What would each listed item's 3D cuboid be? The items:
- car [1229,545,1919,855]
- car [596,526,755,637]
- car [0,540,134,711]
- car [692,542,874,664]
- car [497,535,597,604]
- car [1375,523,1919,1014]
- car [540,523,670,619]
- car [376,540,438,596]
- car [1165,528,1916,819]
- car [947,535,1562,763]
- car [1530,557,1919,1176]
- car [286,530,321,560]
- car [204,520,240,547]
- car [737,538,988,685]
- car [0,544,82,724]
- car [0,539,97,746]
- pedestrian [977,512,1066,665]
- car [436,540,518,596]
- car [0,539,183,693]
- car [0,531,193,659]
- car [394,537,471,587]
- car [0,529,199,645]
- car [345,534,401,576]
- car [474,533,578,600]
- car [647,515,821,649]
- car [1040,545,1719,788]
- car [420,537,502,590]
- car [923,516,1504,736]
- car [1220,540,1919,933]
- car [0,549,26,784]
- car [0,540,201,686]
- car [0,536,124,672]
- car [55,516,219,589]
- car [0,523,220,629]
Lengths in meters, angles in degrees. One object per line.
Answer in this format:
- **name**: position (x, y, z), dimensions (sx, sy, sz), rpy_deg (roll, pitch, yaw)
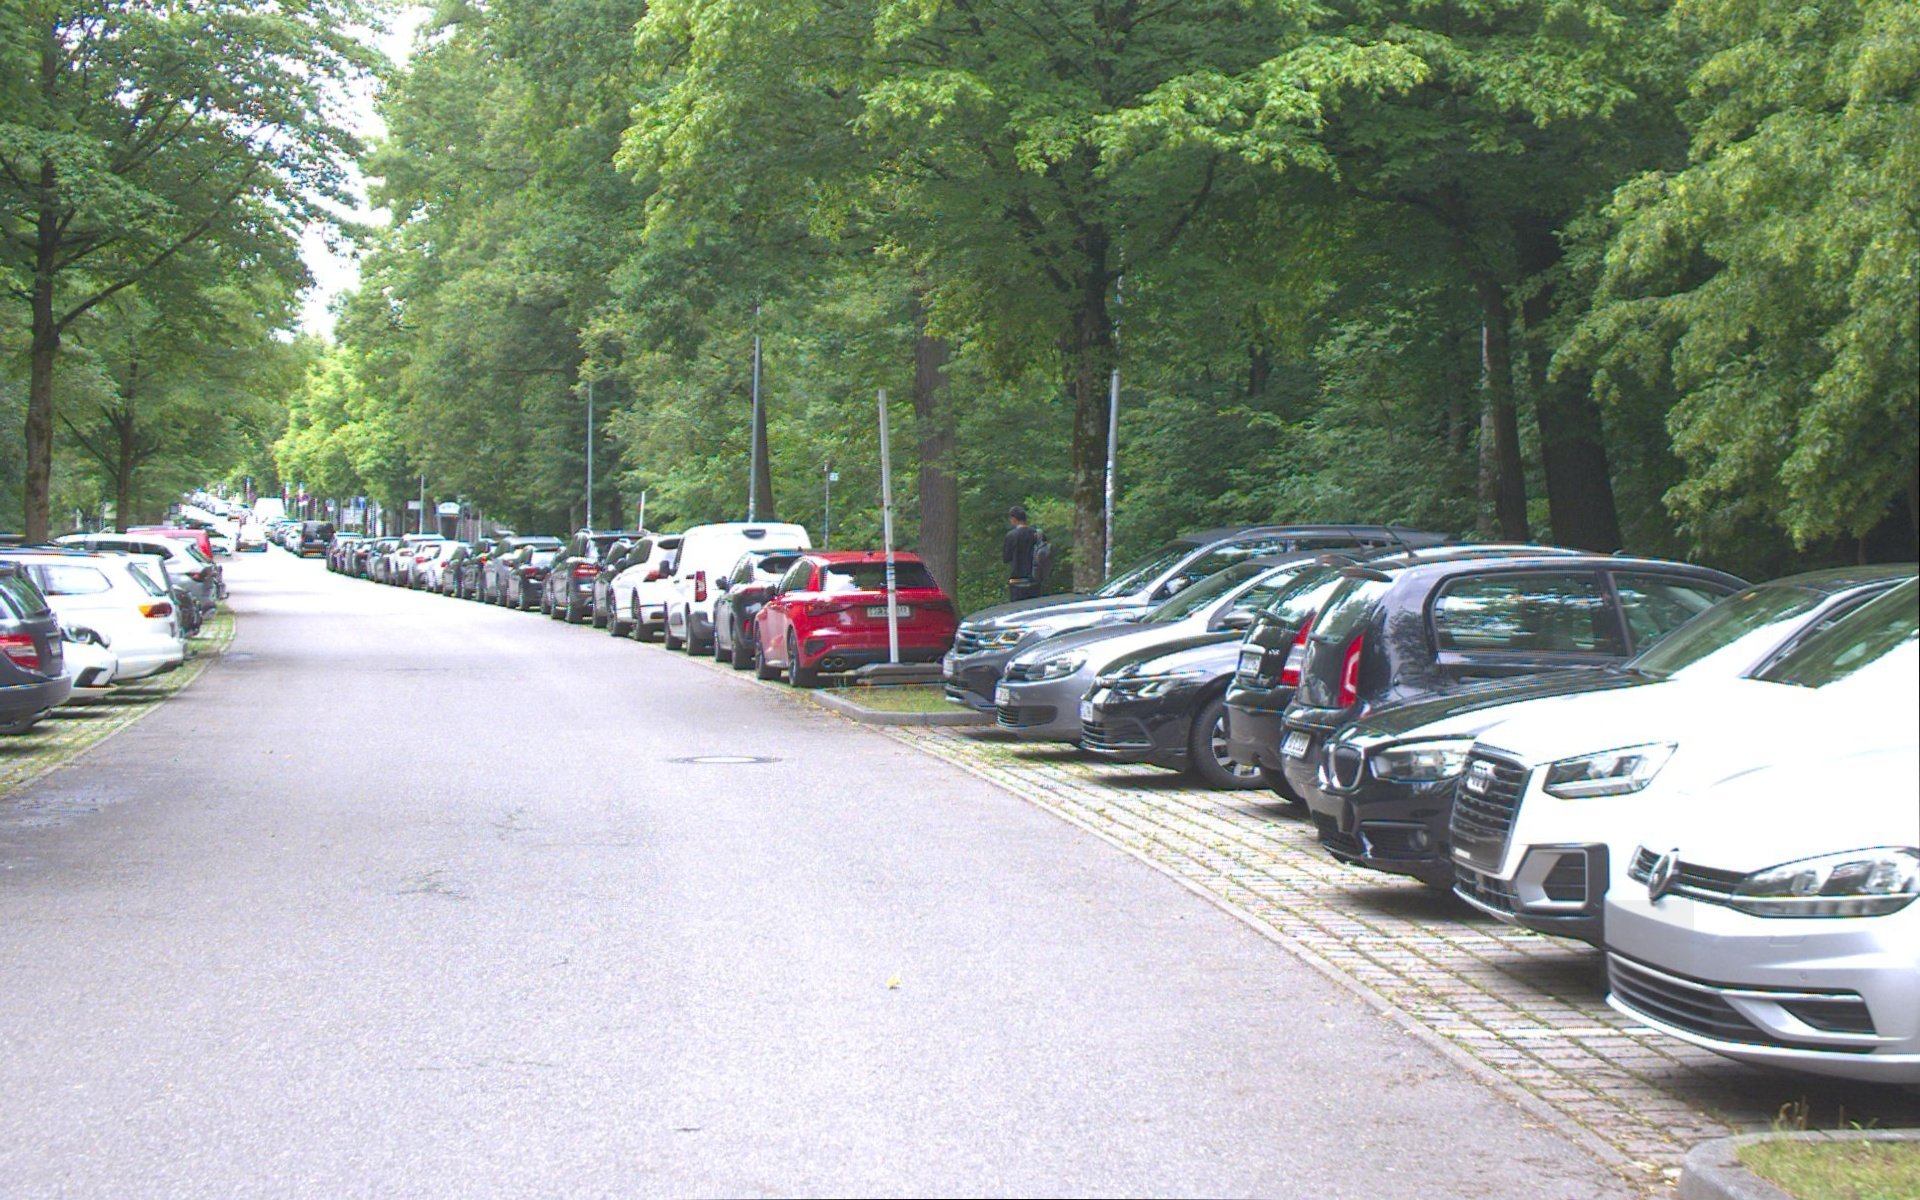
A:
- **car**: position (3.403, 0.455, 17.289), dimensions (3.826, 1.452, 1.809), rpy_deg (0, 1, -6)
- **car**: position (-4.530, -0.321, 54.119), dimensions (1.785, 1.657, 4.719), rpy_deg (0, 1, -13)
- **car**: position (-9.601, 0.218, 30.530), dimensions (4.364, 1.481, 1.892), rpy_deg (0, 0, -12)
- **car**: position (-2.256, 0.006, 42.726), dimensions (1.725, 1.418, 4.285), rpy_deg (0, 1, -10)
- **car**: position (-9.139, -0.682, 75.847), dimensions (1.636, 1.472, 4.153), rpy_deg (0, 1, -14)
- **car**: position (3.632, 0.535, 12.100), dimensions (4.008, 1.553, 1.978), rpy_deg (1, 2, -3)
- **car**: position (-6.799, -0.578, 65.481), dimensions (1.889, 1.741, 4.950), rpy_deg (0, 1, -13)
- **car**: position (-17.683, -1.040, 109.863), dimensions (1.710, 1.722, 4.001), rpy_deg (0, 1, -13)
- **car**: position (3.221, 0.372, 19.521), dimensions (3.826, 1.526, 1.851), rpy_deg (-1, 1, -7)
- **car**: position (2.077, 0.323, 24.790), dimensions (3.986, 1.546, 1.976), rpy_deg (0, 1, -13)
- **car**: position (3.802, 0.653, 9.568), dimensions (3.975, 1.478, 1.884), rpy_deg (0, 2, -7)
- **car**: position (-34.869, -2.931, 182.429), dimensions (1.628, 1.411, 3.412), rpy_deg (1, 4, -14)
- **car**: position (-38.415, -3.461, 179.004), dimensions (1.738, 1.158, 3.412), rpy_deg (1, 4, -11)
- **car**: position (-1.141, 0.076, 37.282), dimensions (1.993, 1.474, 4.973), rpy_deg (0, 1, -10)
- **car**: position (-8.915, 0.259, 28.200), dimensions (3.217, 1.439, 1.681), rpy_deg (0, 1, -10)
- **car**: position (-8.720, 0.285, 25.499), dimensions (4.265, 1.481, 2.058), rpy_deg (0, 1, -6)
- **pedestrian**: position (0.697, -0.137, 39.434), dimensions (0.817, 1.720, 1.004), rpy_deg (1, 1, -10)
- **car**: position (-12.941, -0.865, 91.967), dimensions (1.665, 1.439, 3.815), rpy_deg (0, 1, -16)
- **car**: position (-9.870, 0.137, 33.230), dimensions (4.561, 1.442, 2.086), rpy_deg (0, 1, -14)
- **car**: position (-11.596, -0.079, 42.704), dimensions (4.033, 1.549, 1.920), rpy_deg (0, 1, -12)
- **car**: position (-16.047, -1.163, 104.475), dimensions (1.721, 1.489, 3.775), rpy_deg (0, 1, -18)
- **car**: position (-12.857, -0.191, 47.566), dimensions (4.513, 1.579, 1.927), rpy_deg (0, 1, -11)
- **car**: position (-22.050, -1.691, 128.986), dimensions (1.920, 1.515, 3.888), rpy_deg (0, 1, -12)
- **car**: position (-10.333, -0.809, 81.576), dimensions (1.977, 1.532, 4.623), rpy_deg (0, 1, -13)
- **car**: position (-3.207, -0.282, 48.047), dimensions (1.744, 1.774, 4.553), rpy_deg (0, 1, -13)
- **car**: position (2.635, 0.404, 22.198), dimensions (3.986, 1.470, 1.953), rpy_deg (0, 1, -6)
- **car**: position (-14.394, -1.052, 99.006), dimensions (1.936, 1.470, 3.993), rpy_deg (0, 1, -14)
- **car**: position (1.950, 0.186, 27.283), dimensions (4.265, 1.660, 1.959), rpy_deg (0, 1, -8)
- **car**: position (3.366, 0.530, 14.620), dimensions (4.186, 1.506, 1.894), rpy_deg (0, 2, -8)
- **car**: position (-7.999, 0.403, 20.530), dimensions (4.404, 1.419, 2.036), rpy_deg (0, 1, -6)
- **car**: position (-10.230, 0.117, 35.549), dimensions (4.561, 1.481, 1.870), rpy_deg (0, 1, -10)
- **car**: position (-11.931, 0.030, 39.997), dimensions (4.233, 1.545, 1.848), rpy_deg (0, 1, -15)
- **car**: position (-20.801, -1.192, 86.835), dimensions (3.986, 1.810, 2.116), rpy_deg (0, 1, -15)
- **car**: position (-14.021, -0.398, 54.925), dimensions (4.223, 1.627, 2.030), rpy_deg (1, 1, -11)
